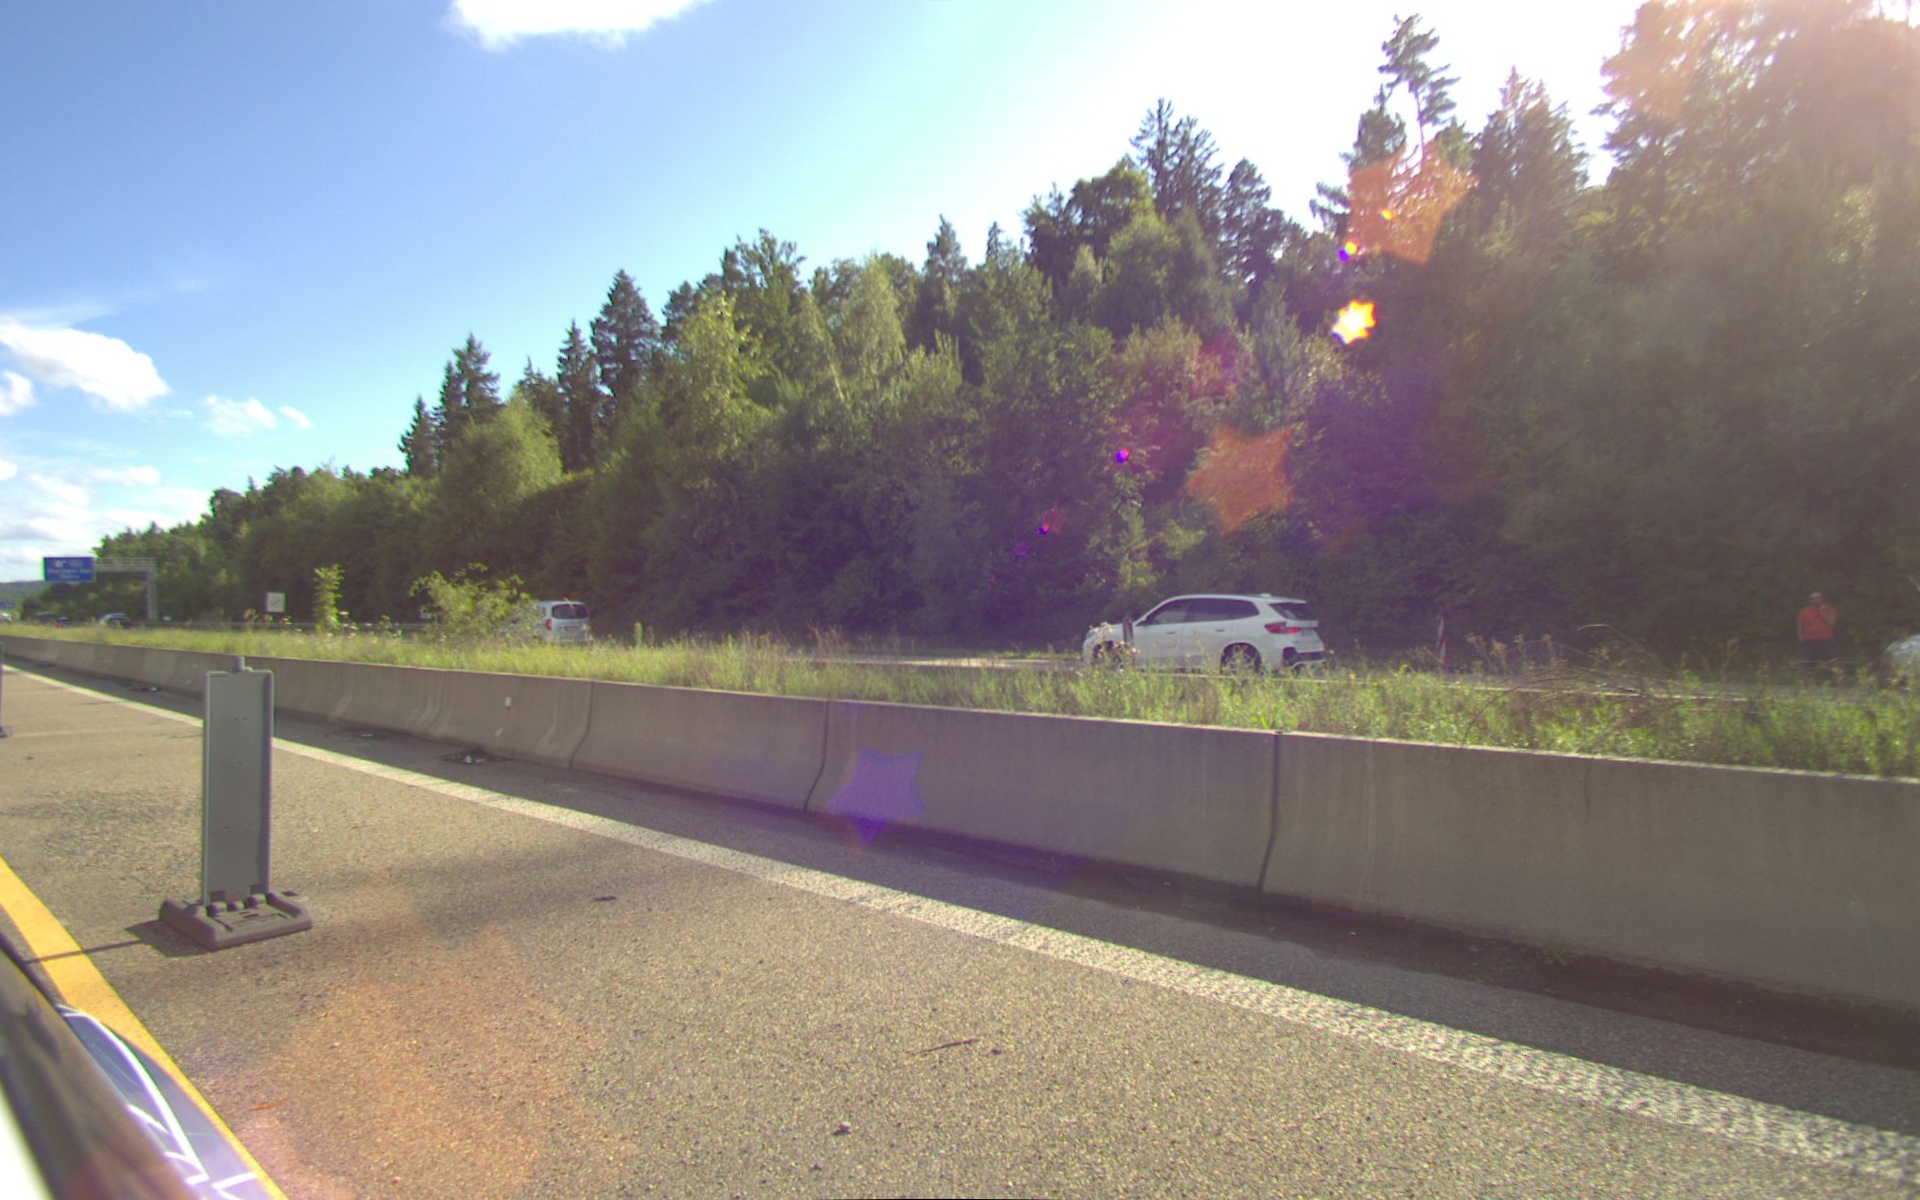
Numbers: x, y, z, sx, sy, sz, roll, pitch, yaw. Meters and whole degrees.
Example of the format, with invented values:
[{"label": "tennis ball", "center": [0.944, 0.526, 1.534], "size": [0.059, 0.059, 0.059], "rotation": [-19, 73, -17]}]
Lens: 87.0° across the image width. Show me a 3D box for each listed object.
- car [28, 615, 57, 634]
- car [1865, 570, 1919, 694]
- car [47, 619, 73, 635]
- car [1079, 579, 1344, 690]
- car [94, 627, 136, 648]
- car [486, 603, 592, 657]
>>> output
[{"label": "car", "center": [-95.349, 2.523, 105.177], "size": [4.615, 1.917, 1.759], "rotation": [-1, 0, 41]}, {"label": "car", "center": [16.411, 0.464, 14.723], "size": [4.759, 1.867, 1.841], "rotation": [-1, 0, 41]}, {"label": "car", "center": [-111.607, 3.334, 125.486], "size": [4.615, 1.917, 1.759], "rotation": [-1, 0, 41]}, {"label": "car", "center": [4.486, 0.573, 18.442], "size": [4.363, 1.799, 1.759], "rotation": [-1, 0, 41]}, {"label": "car", "center": [-63.289, 2.758, 75.770], "size": [4.102, 1.467, 1.759], "rotation": [-1, 0, 41]}, {"label": "car", "center": [-15.038, 1.025, 36.051], "size": [4.363, 1.799, 1.759], "rotation": [-1, 0, 41]}]
